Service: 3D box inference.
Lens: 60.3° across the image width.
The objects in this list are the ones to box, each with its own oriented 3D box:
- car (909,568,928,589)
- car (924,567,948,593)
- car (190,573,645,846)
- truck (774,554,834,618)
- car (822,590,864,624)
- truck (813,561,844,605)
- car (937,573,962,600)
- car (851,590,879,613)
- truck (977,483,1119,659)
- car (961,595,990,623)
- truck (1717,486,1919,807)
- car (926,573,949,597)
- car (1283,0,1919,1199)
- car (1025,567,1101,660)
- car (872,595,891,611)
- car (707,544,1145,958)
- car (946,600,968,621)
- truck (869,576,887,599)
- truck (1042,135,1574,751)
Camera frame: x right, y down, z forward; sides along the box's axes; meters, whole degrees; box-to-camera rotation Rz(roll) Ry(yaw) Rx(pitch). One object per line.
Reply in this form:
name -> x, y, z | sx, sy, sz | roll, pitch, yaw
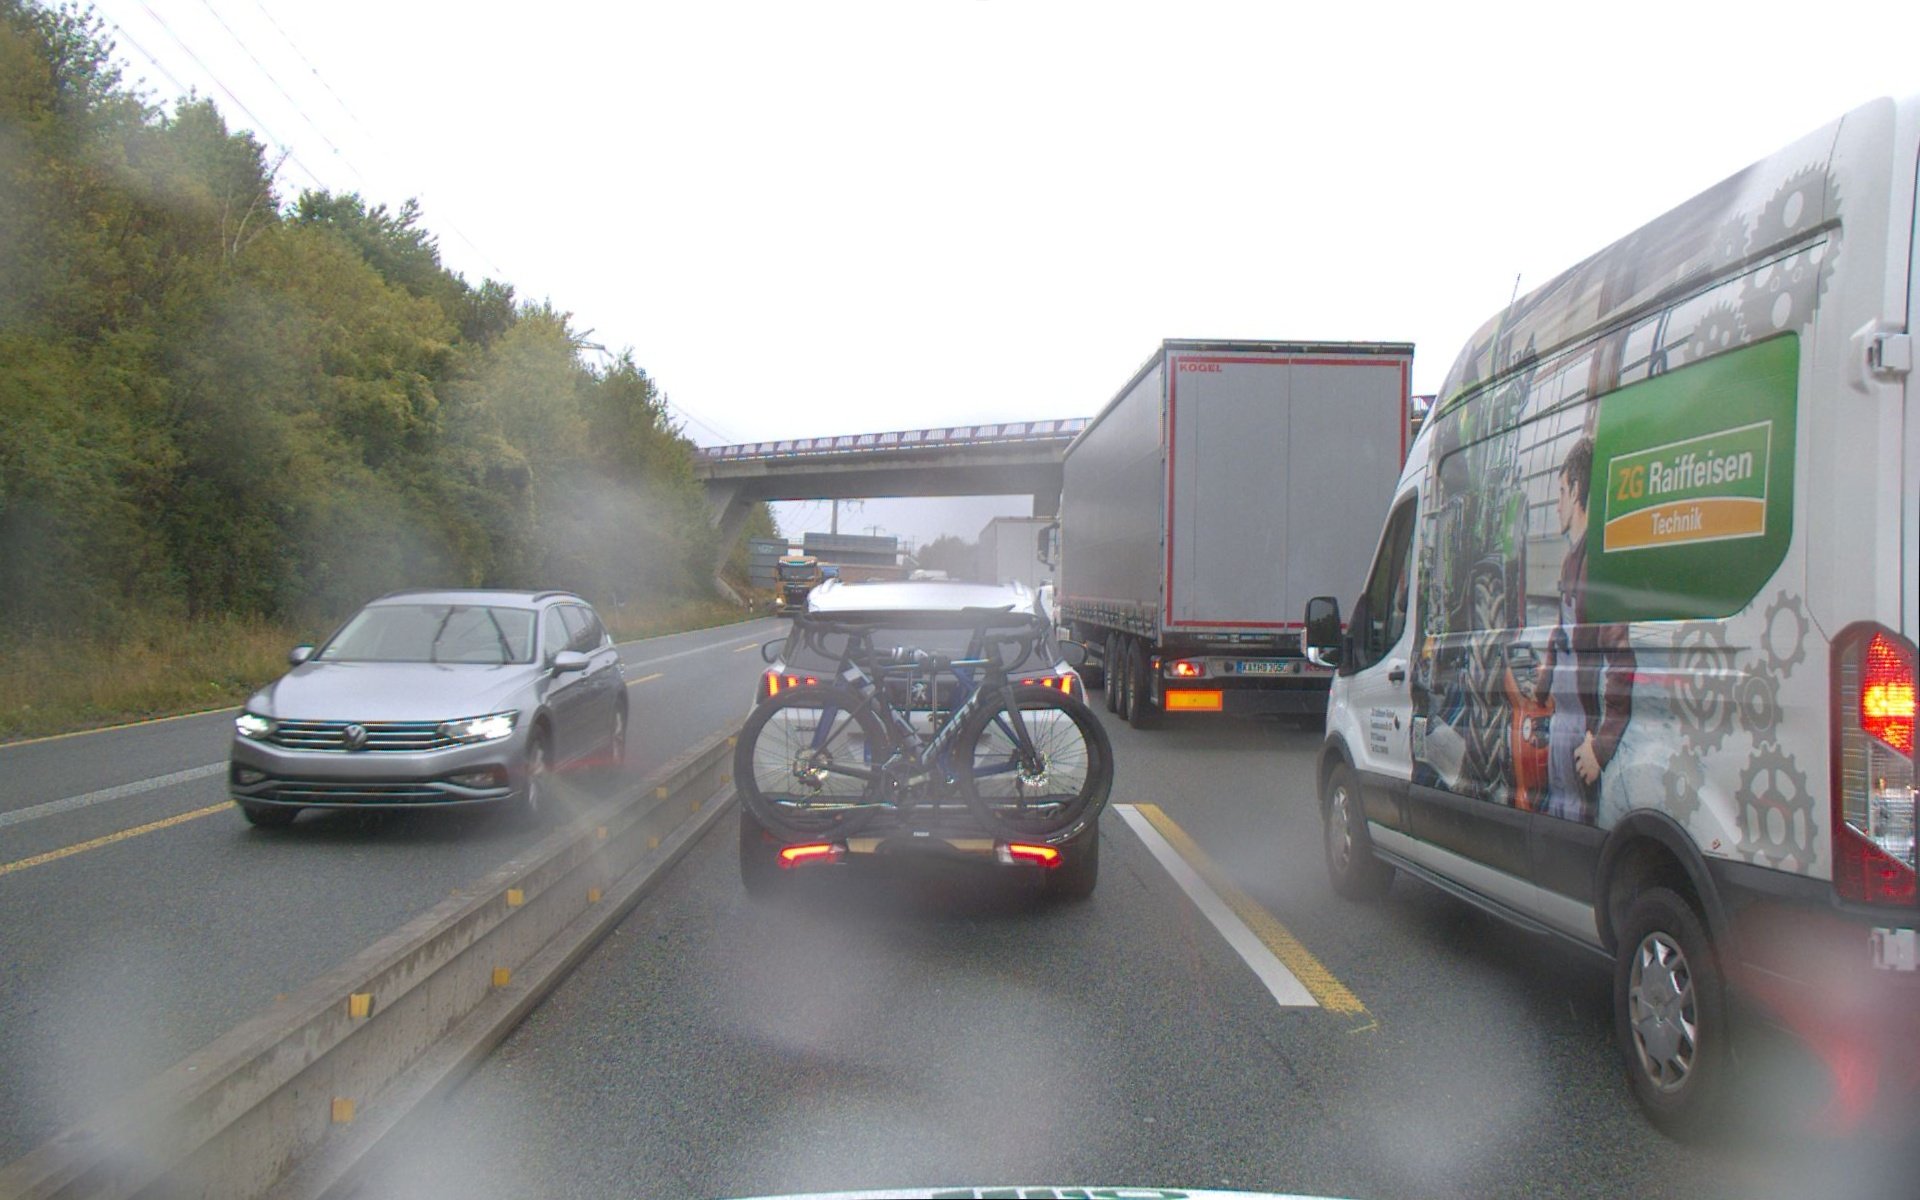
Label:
car -> -4.500, -2.342, 180.823 | 1.953, 2.164, 4.526 | 1, 0, 0
car -> -2.259, -1.919, 158.269 | 2.193, 2.348, 4.571 | 1, 0, 0
car -> -3.464, 0.624, 11.493 | 1.773, 1.514, 4.395 | 1, 0, -1
truck -> -9.612, -0.817, 103.091 | 2.626, 3.720, 12.310 | 1, 0, 0
car -> -5.382, 0.322, 76.578 | 1.744, 1.469, 4.327 | 1, 0, -2
truck -> -13.334, -1.613, 167.274 | 2.712, 4.195, 16.905 | 1, 0, -6
car -> -0.863, -1.044, 132.045 | 1.953, 2.049, 3.999 | 1, 0, 0
car -> -7.033, 0.126, 122.867 | 1.896, 1.635, 4.119 | 1, 0, -1
truck -> 3.051, -0.926, 65.158 | 4.645, 5.772, 20.376 | 1, 0, 1
car -> 0.869, 0.523, 94.265 | 1.605, 1.524, 3.665 | 1, 0, 0
truck -> 10.768, 0.471, 16.173 | 2.469, 3.186, 9.117 | 1, 0, -1
car -> -1.943, -1.311, 145.050 | 1.953, 2.049, 3.999 | 1, 0, 0
car -> 2.974, 0.080, 6.474 | 2.101, 2.723, 6.115 | 1, 0, -1
car -> 2.590, 0.338, 42.435 | 1.636, 2.218, 4.534 | 1, 0, 0
car -> -6.990, 0.287, 147.140 | 1.652, 1.434, 3.928 | 1, 0, -2
car -> -0.108, 0.626, 9.080 | 1.773, 1.666, 4.636 | 1, 0, 1
car -> -0.225, 0.756, 119.275 | 1.605, 1.524, 3.665 | 1, 0, 0
truck -> -13.081, -1.954, 265.119 | 2.483, 3.411, 12.046 | 1, 0, -1
truck -> 3.803, -1.446, 25.831 | 3.898, 5.772, 20.373 | 1, 0, 0
